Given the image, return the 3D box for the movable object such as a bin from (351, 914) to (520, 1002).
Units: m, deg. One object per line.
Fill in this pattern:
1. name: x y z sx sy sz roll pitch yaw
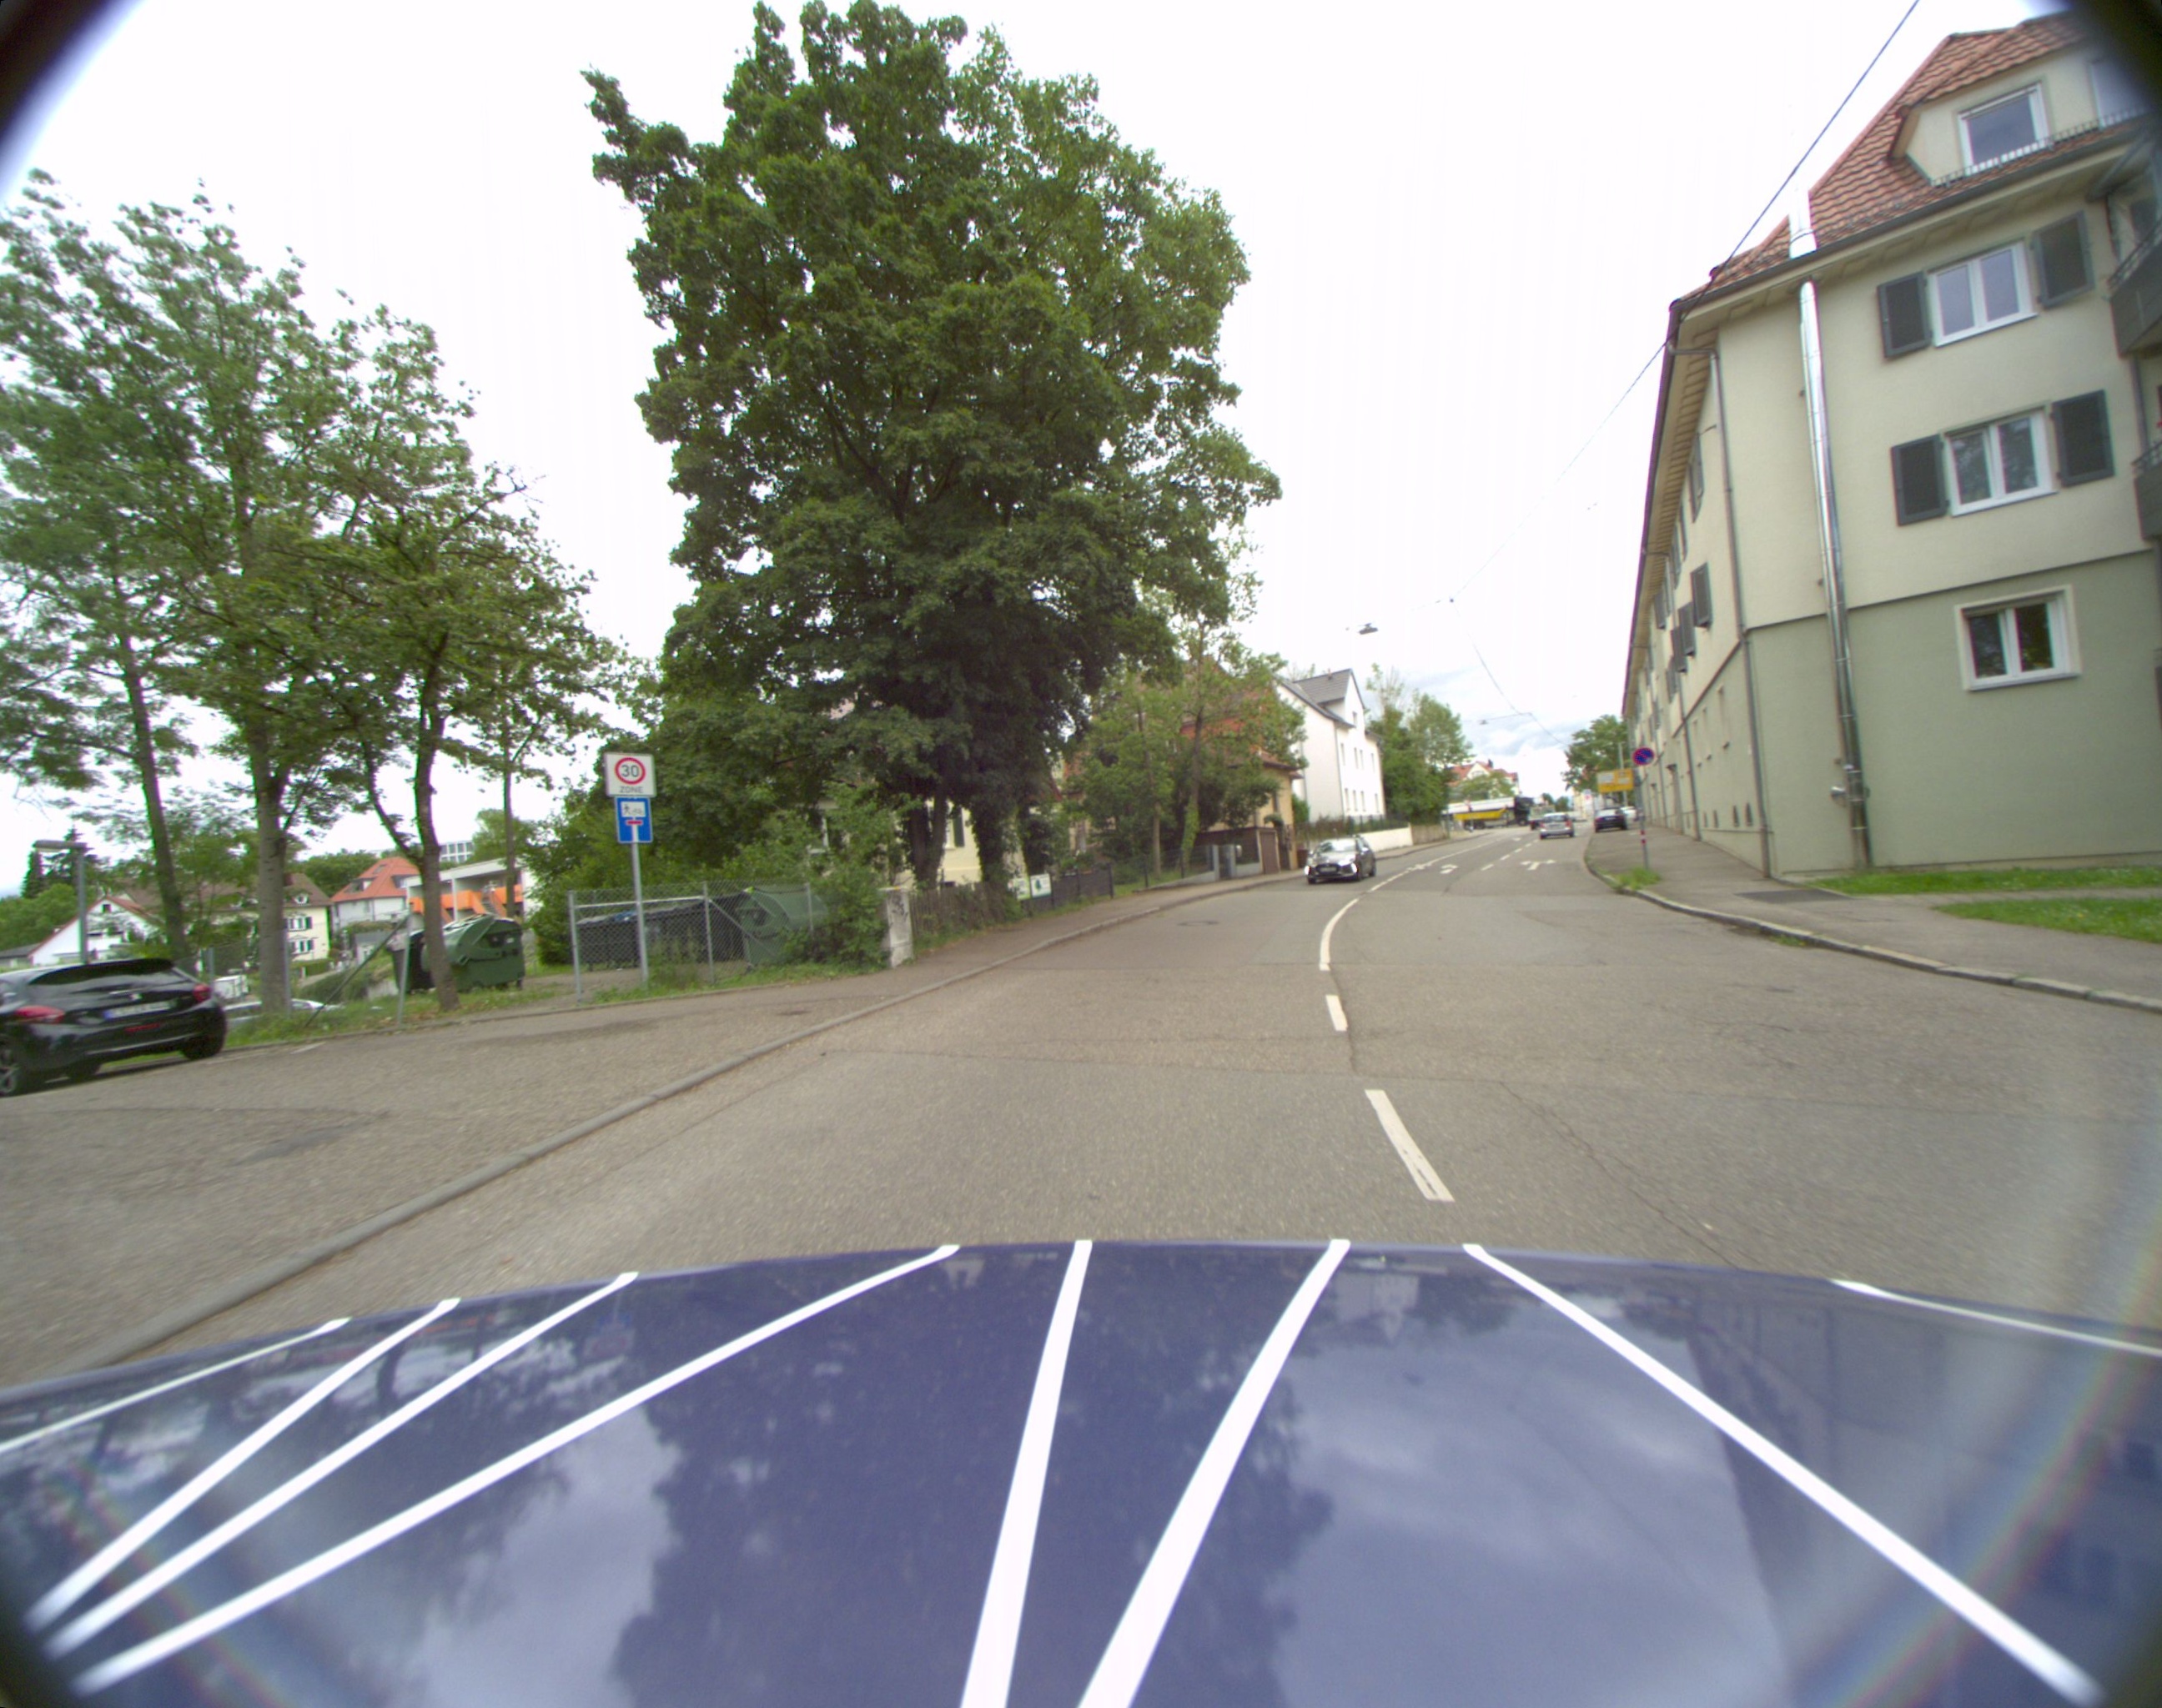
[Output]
1. movable object such as a bin: -13.253 2.120 15.603 2.890 1.538 1.449 -4 0 24

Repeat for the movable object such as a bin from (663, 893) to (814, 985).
1. movable object such as a bin: -7.857 1.926 17.548 2.105 1.776 2.211 -4 0 27

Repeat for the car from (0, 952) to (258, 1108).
1. car: -12.905 2.284 9.679 3.665 1.390 1.833 -9 -1 19

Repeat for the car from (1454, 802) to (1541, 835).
1. car: 52.162 -4.418 95.352 9.218 3.208 2.003 -5 0 35

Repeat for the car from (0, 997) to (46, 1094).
1. car: -17.414 3.091 11.210 3.594 1.320 1.552 -9 -1 21

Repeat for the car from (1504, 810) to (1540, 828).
1. car: 59.987 -4.766 103.445 3.990 2.002 2.003 -5 1 29

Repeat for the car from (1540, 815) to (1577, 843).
1. car: 30.270 -1.585 48.124 1.723 1.595 3.984 -4 0 35

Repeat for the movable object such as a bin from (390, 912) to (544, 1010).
1. movable object such as a bin: -11.370 1.950 14.129 1.423 1.538 1.678 -4 0 24

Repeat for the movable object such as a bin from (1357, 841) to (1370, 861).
1. movable object such as a bin: 16.812 -0.161 45.178 0.528 1.171 0.635 -1 3 34

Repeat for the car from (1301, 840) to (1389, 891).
1. car: 9.019 0.364 25.745 1.643 1.390 3.788 -5 0 37

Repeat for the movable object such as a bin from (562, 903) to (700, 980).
1. movable object such as a bin: -11.930 2.296 20.217 2.230 1.722 2.211 -4 0 27

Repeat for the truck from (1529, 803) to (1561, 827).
1. truck: 46.286 -3.897 75.745 2.122 2.188 6.601 -4 1 36

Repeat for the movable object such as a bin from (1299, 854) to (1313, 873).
1. movable object such as a bin: 10.858 0.454 36.715 0.461 0.919 0.567 -1 2 34

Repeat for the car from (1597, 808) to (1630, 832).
1. car: 41.221 -2.647 58.943 1.823 1.623 4.704 -6 -1 33

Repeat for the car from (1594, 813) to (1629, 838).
1. car: 34.880 -1.888 49.984 1.712 1.395 4.854 -5 0 34

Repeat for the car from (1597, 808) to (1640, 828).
1. car: 64.395 -4.283 91.152 3.990 2.002 2.003 -5 0 31

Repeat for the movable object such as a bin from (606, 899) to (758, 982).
1. movable object such as a bin: -9.914 2.125 18.947 2.495 1.703 2.211 -4 0 27

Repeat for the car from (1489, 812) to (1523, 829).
1. car: 59.731 -4.736 106.773 3.990 2.002 2.003 -5 1 29
